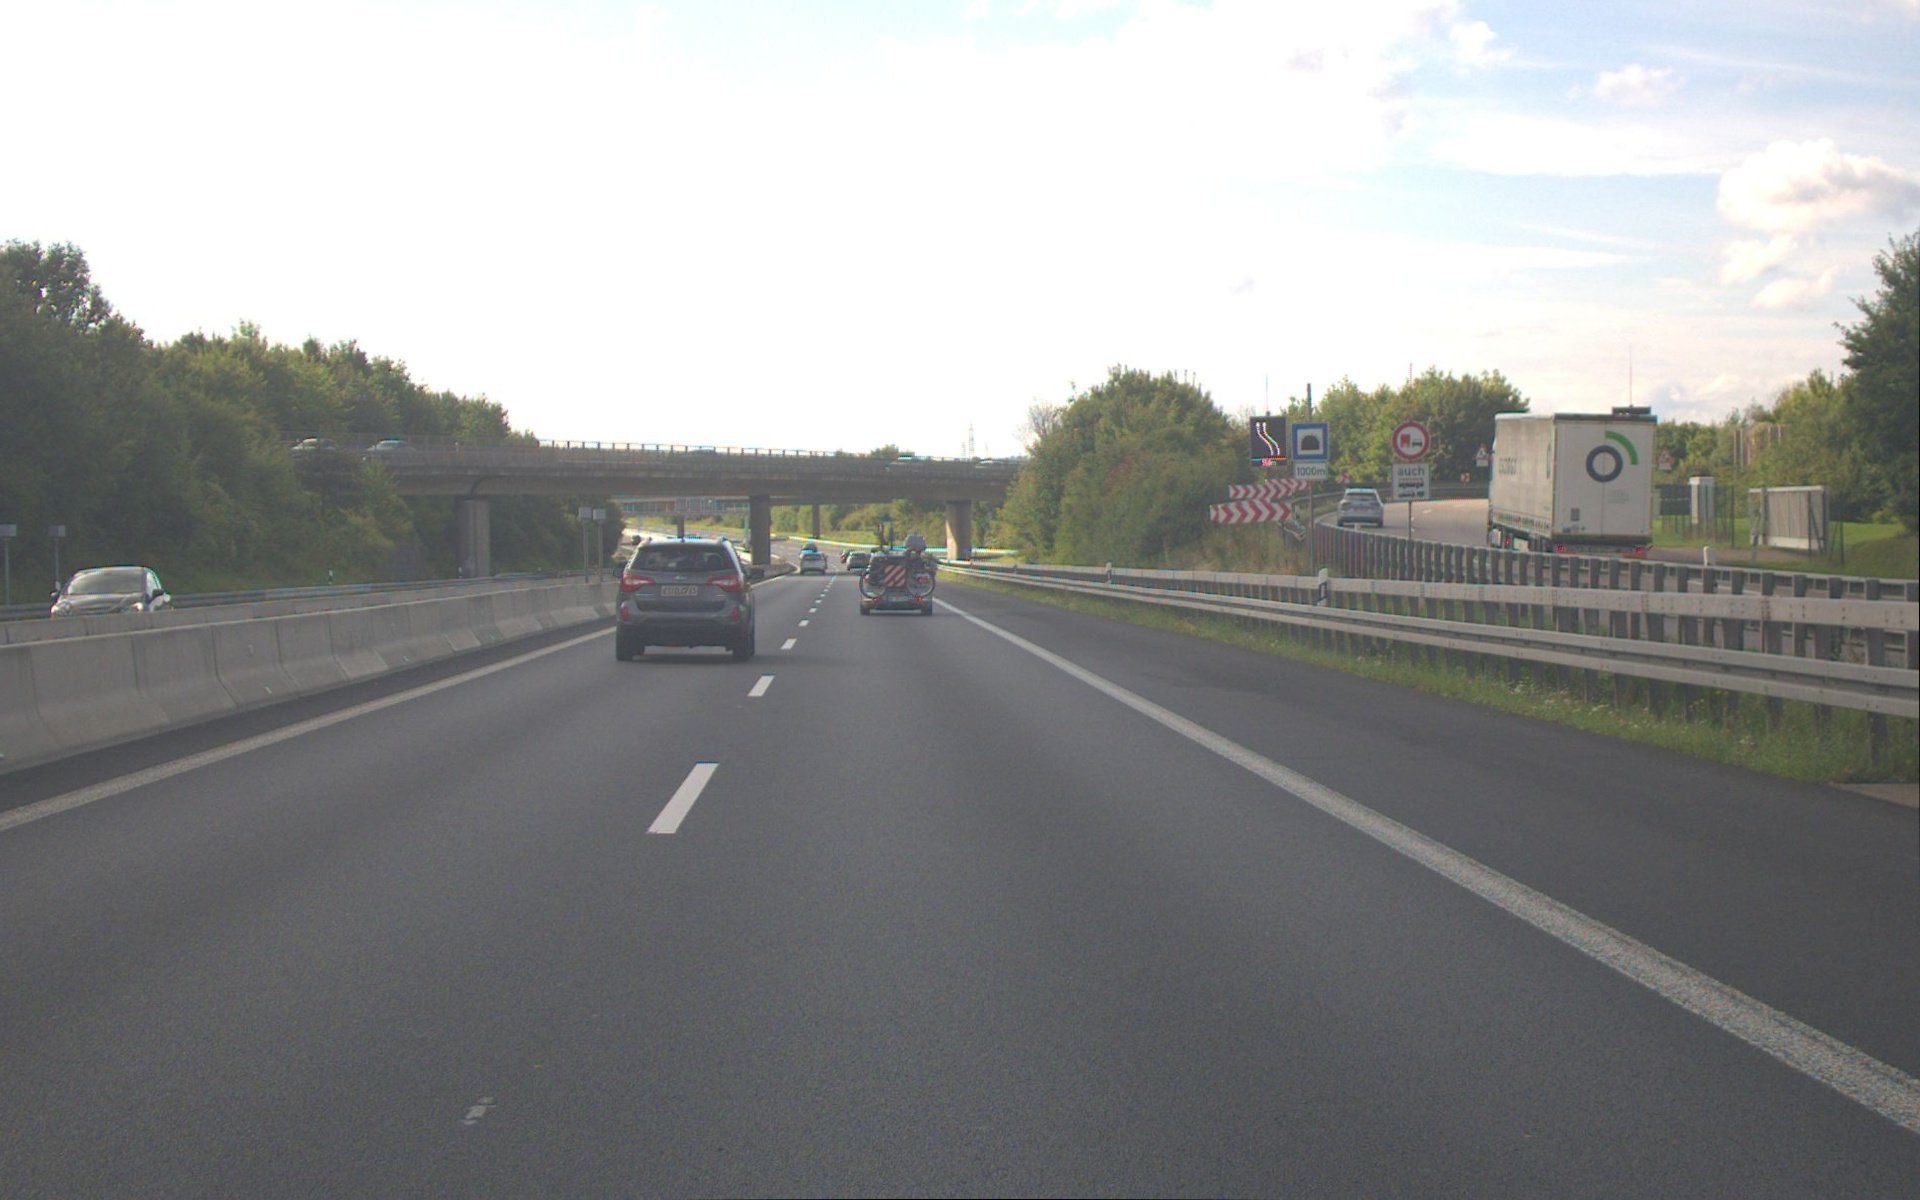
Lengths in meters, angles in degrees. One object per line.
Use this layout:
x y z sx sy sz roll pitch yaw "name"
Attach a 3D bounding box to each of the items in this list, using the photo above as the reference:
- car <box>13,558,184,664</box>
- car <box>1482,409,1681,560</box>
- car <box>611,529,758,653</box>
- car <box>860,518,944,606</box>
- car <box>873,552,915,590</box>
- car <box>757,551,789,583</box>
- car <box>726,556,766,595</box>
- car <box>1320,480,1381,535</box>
-14.847 0.163 59.420 1.993 1.711 4.000 -2 1 -1 "car"
16.137 -2.944 89.893 3.576 3.664 7.549 -2 1 -1 "car"
-3.849 -0.144 48.488 1.750 1.624 3.609 -2 1 0 "car"
-1.455 -0.952 85.600 1.993 2.073 4.000 -2 1 -1 "car"
-3.242 -1.447 169.038 1.975 1.773 4.120 -2 1 -2 "car"
-12.202 -2.145 224.624 1.993 2.007 4.000 -2 1 -2 "car"
-11.372 -1.332 182.962 1.993 2.007 4.000 -2 1 -2 "car"
14.932 -3.528 131.662 1.994 2.007 4.000 -2 1 3 "car"
